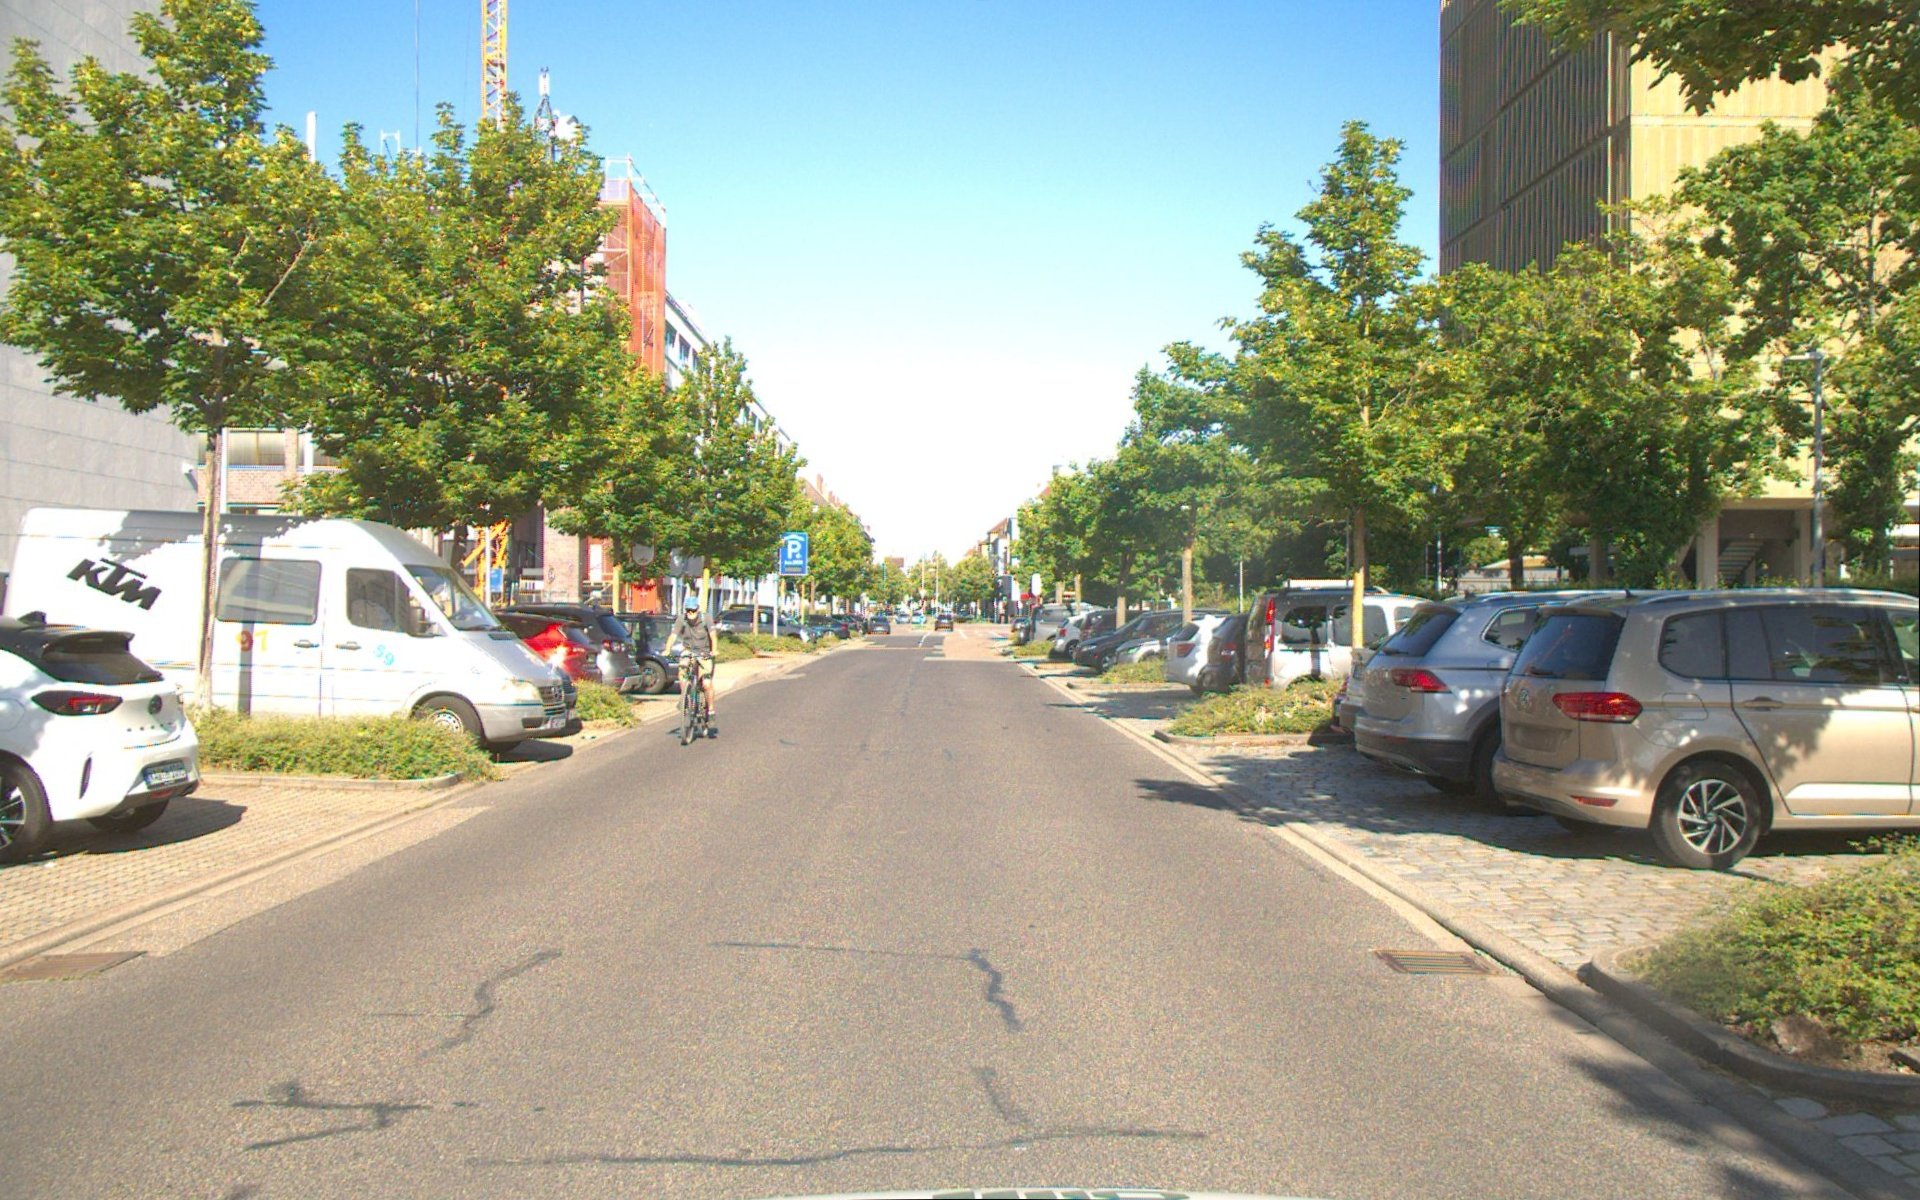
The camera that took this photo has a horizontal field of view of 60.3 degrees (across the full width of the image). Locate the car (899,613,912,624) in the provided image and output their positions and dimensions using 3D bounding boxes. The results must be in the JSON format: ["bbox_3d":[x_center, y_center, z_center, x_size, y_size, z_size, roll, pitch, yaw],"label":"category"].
[{"bbox_3d":[-7.856,2.586,237.505,1.774,1.500,4.110,0,0,0],"label":"car"}]

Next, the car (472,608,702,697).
[{"bbox_3d":[-7.130,0.995,31.933,4.048,1.518,1.868,2,1,-4],"label":"car"}]

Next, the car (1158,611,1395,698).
[{"bbox_3d":[5.728,0.983,30.270,3.978,1.451,1.742,-1,-1,0],"label":"car"}]

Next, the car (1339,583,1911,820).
[{"bbox_3d":[5.191,0.742,13.291,3.821,1.725,1.939,0,1,-3],"label":"car"}]

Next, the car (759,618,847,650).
[{"bbox_3d":[-7.707,1.678,81.322,4.246,1.500,1.816,0,0,-4],"label":"car"}]

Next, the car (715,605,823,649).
[{"bbox_3d":[-7.631,1.064,66.440,4.175,1.694,1.599,0,0,-2],"label":"car"}]

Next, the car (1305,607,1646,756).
[{"bbox_3d":[5.747,0.876,18.607,3.301,1.557,1.597,0,-1,-9],"label":"car"}]

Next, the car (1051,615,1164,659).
[{"bbox_3d":[5.018,1.260,56.540,3.689,1.485,1.817,0,-1,-1],"label":"car"}]

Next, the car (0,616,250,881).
[{"bbox_3d":[-6.913,0.853,10.733,3.751,1.498,1.848,2,0,1],"label":"car"}]

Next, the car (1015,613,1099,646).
[{"bbox_3d":[4.532,1.378,77.217,3.831,1.500,1.758,0,-2,3],"label":"car"}]

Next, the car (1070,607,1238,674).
[{"bbox_3d":[4.927,1.018,42.340,4.061,1.608,1.740,-1,0,-2],"label":"car"}]

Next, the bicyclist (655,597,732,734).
[{"bbox_3d":[-3.227,0.777,20.118,0.669,1.608,1.061,-1,-1,4],"label":"bicyclist"}]

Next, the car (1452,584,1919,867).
[{"bbox_3d":[5.646,0.732,10.845,4.235,1.636,1.910,-1,-1,-5],"label":"car"}]

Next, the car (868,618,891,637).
[{"bbox_3d":[-6.510,2.219,134.122,1.775,1.500,4.109,0,0,-2],"label":"car"}]

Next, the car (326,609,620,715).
[{"bbox_3d":[-7.314,0.916,25.117,3.905,1.544,1.855,0,-1,0],"label":"car"}]

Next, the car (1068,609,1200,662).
[{"bbox_3d":[5.393,1.106,51.753,3.905,1.610,2.031,0,-1,0],"label":"car"}]

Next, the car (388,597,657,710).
[{"bbox_3d":[-7.196,0.863,27.463,3.904,1.693,1.828,2,-1,2],"label":"car"}]

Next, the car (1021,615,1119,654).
[{"bbox_3d":[4.394,1.364,66.248,3.831,1.500,1.796,0,0,3],"label":"car"}]

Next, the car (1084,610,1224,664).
[{"bbox_3d":[5.720,1.103,49.104,3.905,1.565,1.861,0,-1,0],"label":"car"}]

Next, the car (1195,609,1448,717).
[{"bbox_3d":[5.564,0.948,25.706,3.534,1.577,1.706,0,1,-3],"label":"car"}]

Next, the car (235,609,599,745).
[{"bbox_3d":[-6.602,0.917,20.424,3.852,1.511,1.785,1,-1,1],"label":"car"}]

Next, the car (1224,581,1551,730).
[{"bbox_3d":[5.891,0.728,23.140,4.036,1.961,1.978,0,1,-3],"label":"car"}]

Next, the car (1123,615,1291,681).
[{"bbox_3d":[5.943,1.145,40.102,3.785,1.531,1.651,0,0,-3],"label":"car"}]

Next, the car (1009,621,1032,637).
[{"bbox_3d":[5.985,2.864,164.854,1.949,1.500,4.108,0,0,-3],"label":"car"}]

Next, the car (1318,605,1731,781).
[{"bbox_3d":[5.442,0.857,16.180,3.429,1.556,1.736,0,1,-6],"label":"car"}]

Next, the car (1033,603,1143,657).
[{"bbox_3d":[4.676,1.082,60.605,3.905,1.912,1.682,0,0,-1],"label":"car"}]

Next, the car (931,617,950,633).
[{"bbox_3d":[-1.882,2.438,160.602,1.774,1.500,4.110,0,0,0],"label":"car"}]

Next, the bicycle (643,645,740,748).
[{"bbox_3d":[-3.223,1.143,20.060,0.683,1.130,2.080,-1,-1,4],"label":"bicycle"}]

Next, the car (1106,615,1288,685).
[{"bbox_3d":[5.293,1.098,37.292,3.822,1.512,1.742,0,0,-2],"label":"car"}]

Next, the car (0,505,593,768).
[{"bbox_3d":[-6.855,0.359,17.419,5.437,2.452,1.988,2,0,1],"label":"car"}]
